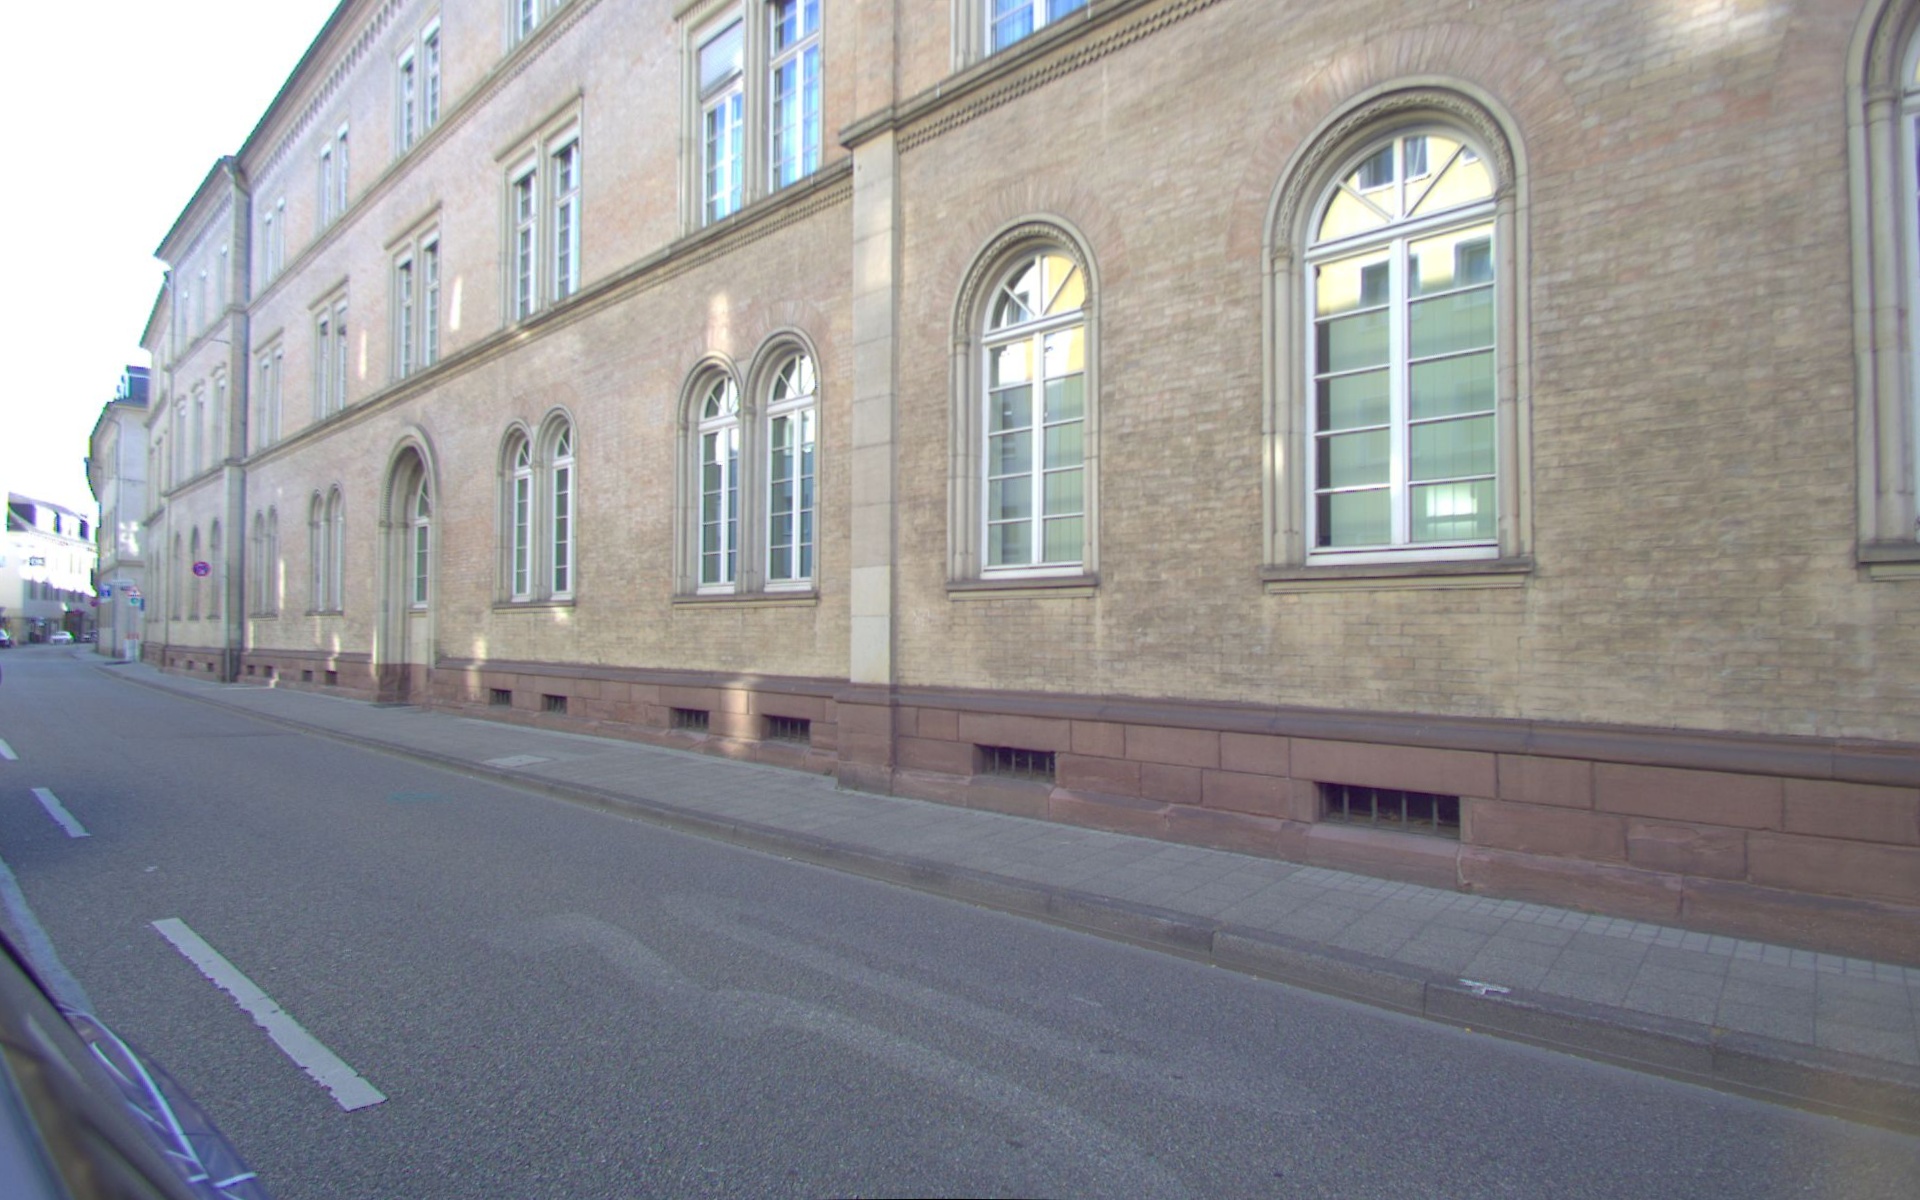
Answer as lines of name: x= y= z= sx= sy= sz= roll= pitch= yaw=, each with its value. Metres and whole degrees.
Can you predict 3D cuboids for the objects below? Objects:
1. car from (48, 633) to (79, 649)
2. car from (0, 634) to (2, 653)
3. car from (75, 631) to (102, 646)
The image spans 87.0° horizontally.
car: x=-102.873 y=4.695 z=116.183 sx=1.966 sy=1.665 sz=4.240 roll=-1 pitch=0 yaw=-33
car: x=-86.631 y=3.901 z=89.958 sx=1.969 sy=1.665 sz=4.235 roll=-1 pitch=0 yaw=-41
car: x=-109.247 y=4.775 z=126.835 sx=1.966 sy=1.665 sz=4.240 roll=-1 pitch=0 yaw=-33
